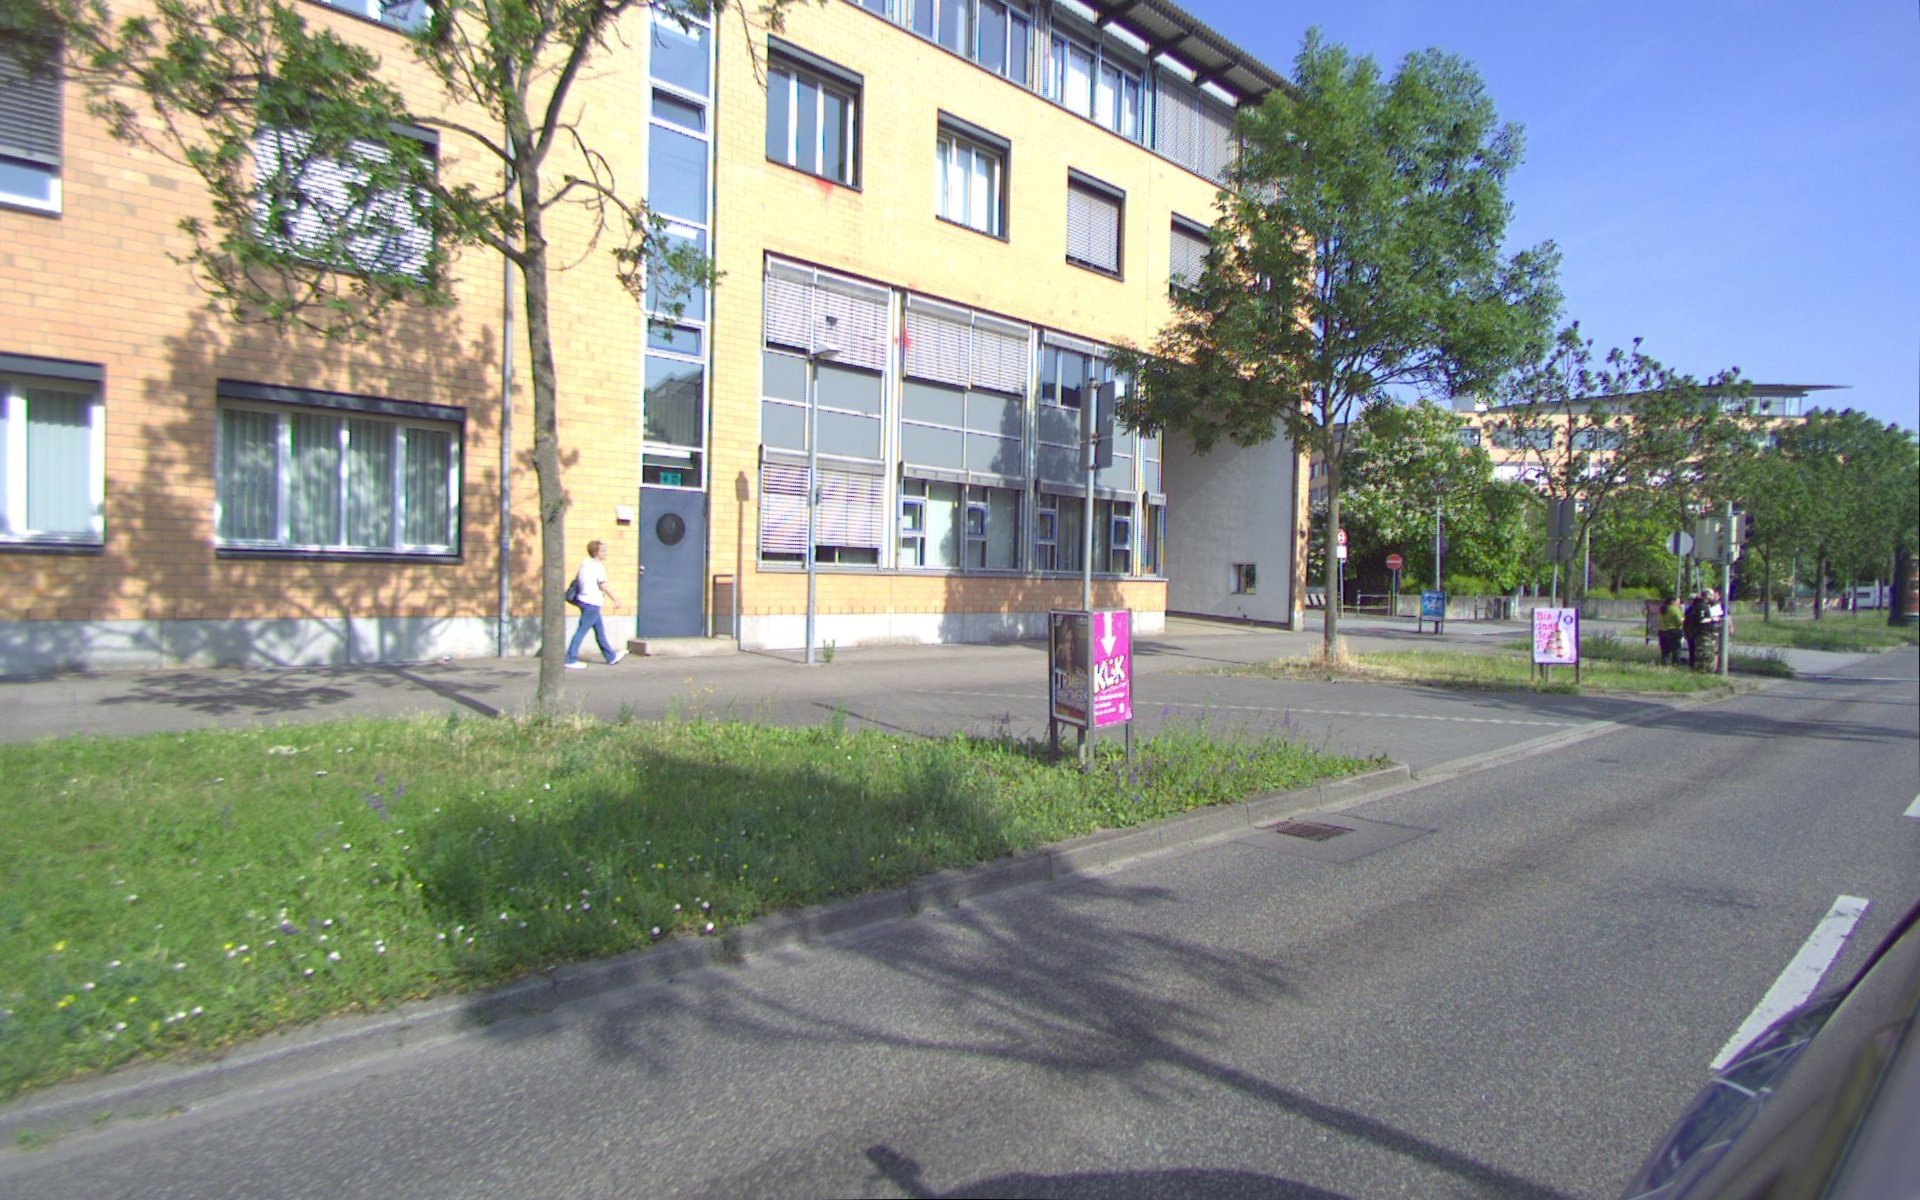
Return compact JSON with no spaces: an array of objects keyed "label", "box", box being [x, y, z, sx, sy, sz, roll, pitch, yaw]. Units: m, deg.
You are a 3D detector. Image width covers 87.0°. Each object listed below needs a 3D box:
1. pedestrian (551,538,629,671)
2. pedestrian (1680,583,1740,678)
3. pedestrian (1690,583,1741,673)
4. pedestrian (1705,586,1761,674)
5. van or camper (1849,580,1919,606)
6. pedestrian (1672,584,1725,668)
[{"label":"pedestrian","box":[-4.855,0.038,13.274,0.760,1.677,0.697,0,3,-41]},{"label":"pedestrian","box":[13.680,0.538,18.472,0.678,1.667,0.706,0,3,-44]},{"label":"pedestrian","box":[14.513,0.526,19.434,0.635,1.667,0.599,4,3,45]},{"label":"pedestrian","box":[15.224,0.570,19.926,0.678,1.667,0.706,0,3,-44]},{"label":"van or camper","box":[101.763,-0.776,111.405,2.369,2.727,5.788,0,0,-44]},{"label":"pedestrian","box":[15.300,0.514,20.964,0.678,1.667,0.706,0,3,-44]}]
